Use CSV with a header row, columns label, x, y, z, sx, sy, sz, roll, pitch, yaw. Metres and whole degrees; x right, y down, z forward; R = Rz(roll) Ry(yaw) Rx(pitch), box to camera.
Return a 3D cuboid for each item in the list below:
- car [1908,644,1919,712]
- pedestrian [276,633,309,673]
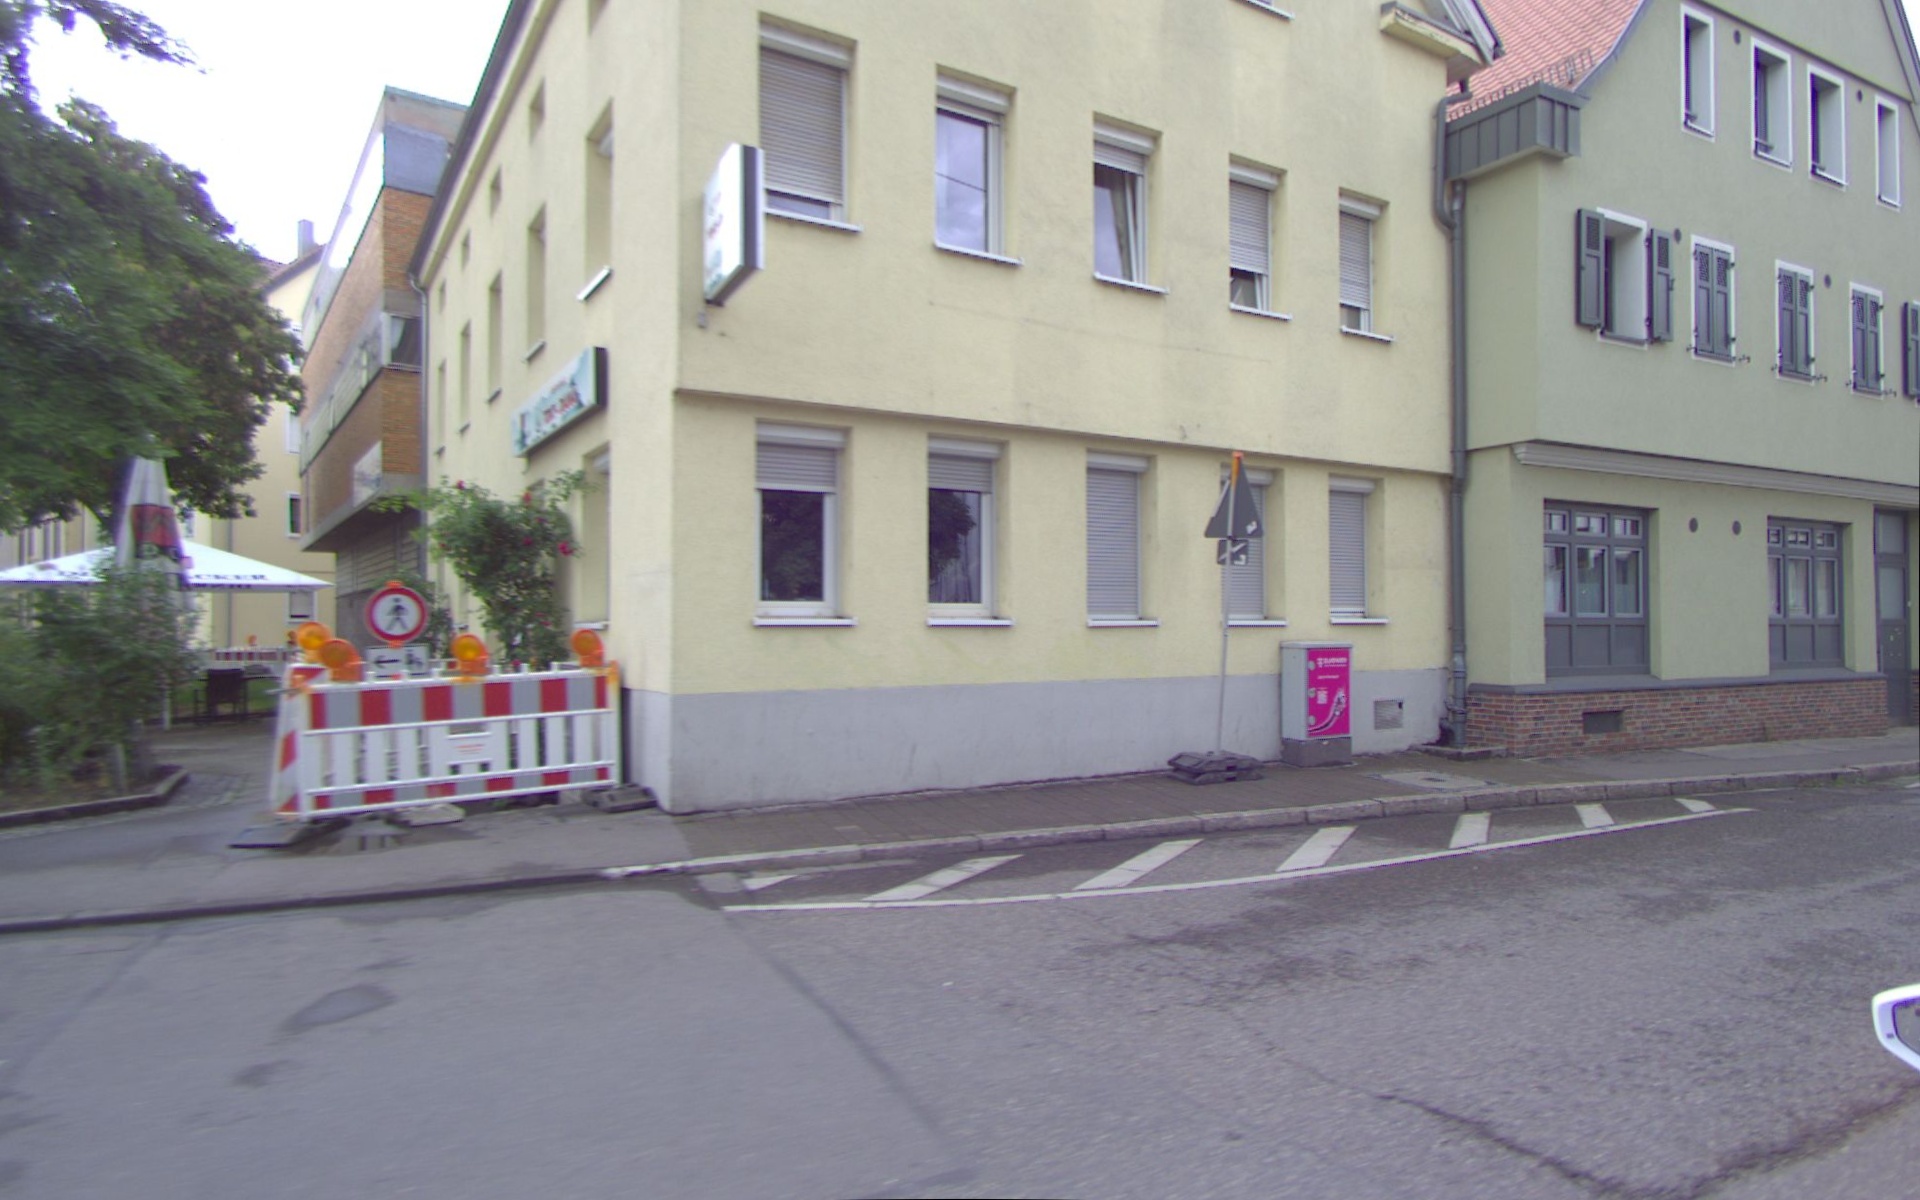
label,x,y,z,sx,sy,sz,roll,pitch,yaw
car,21.514,1.673,21.472,3.973,1.372,1.629,3,-3,-44
pedestrian,-21.478,1.704,32.338,0.779,1.248,0.782,2,-2,-29
